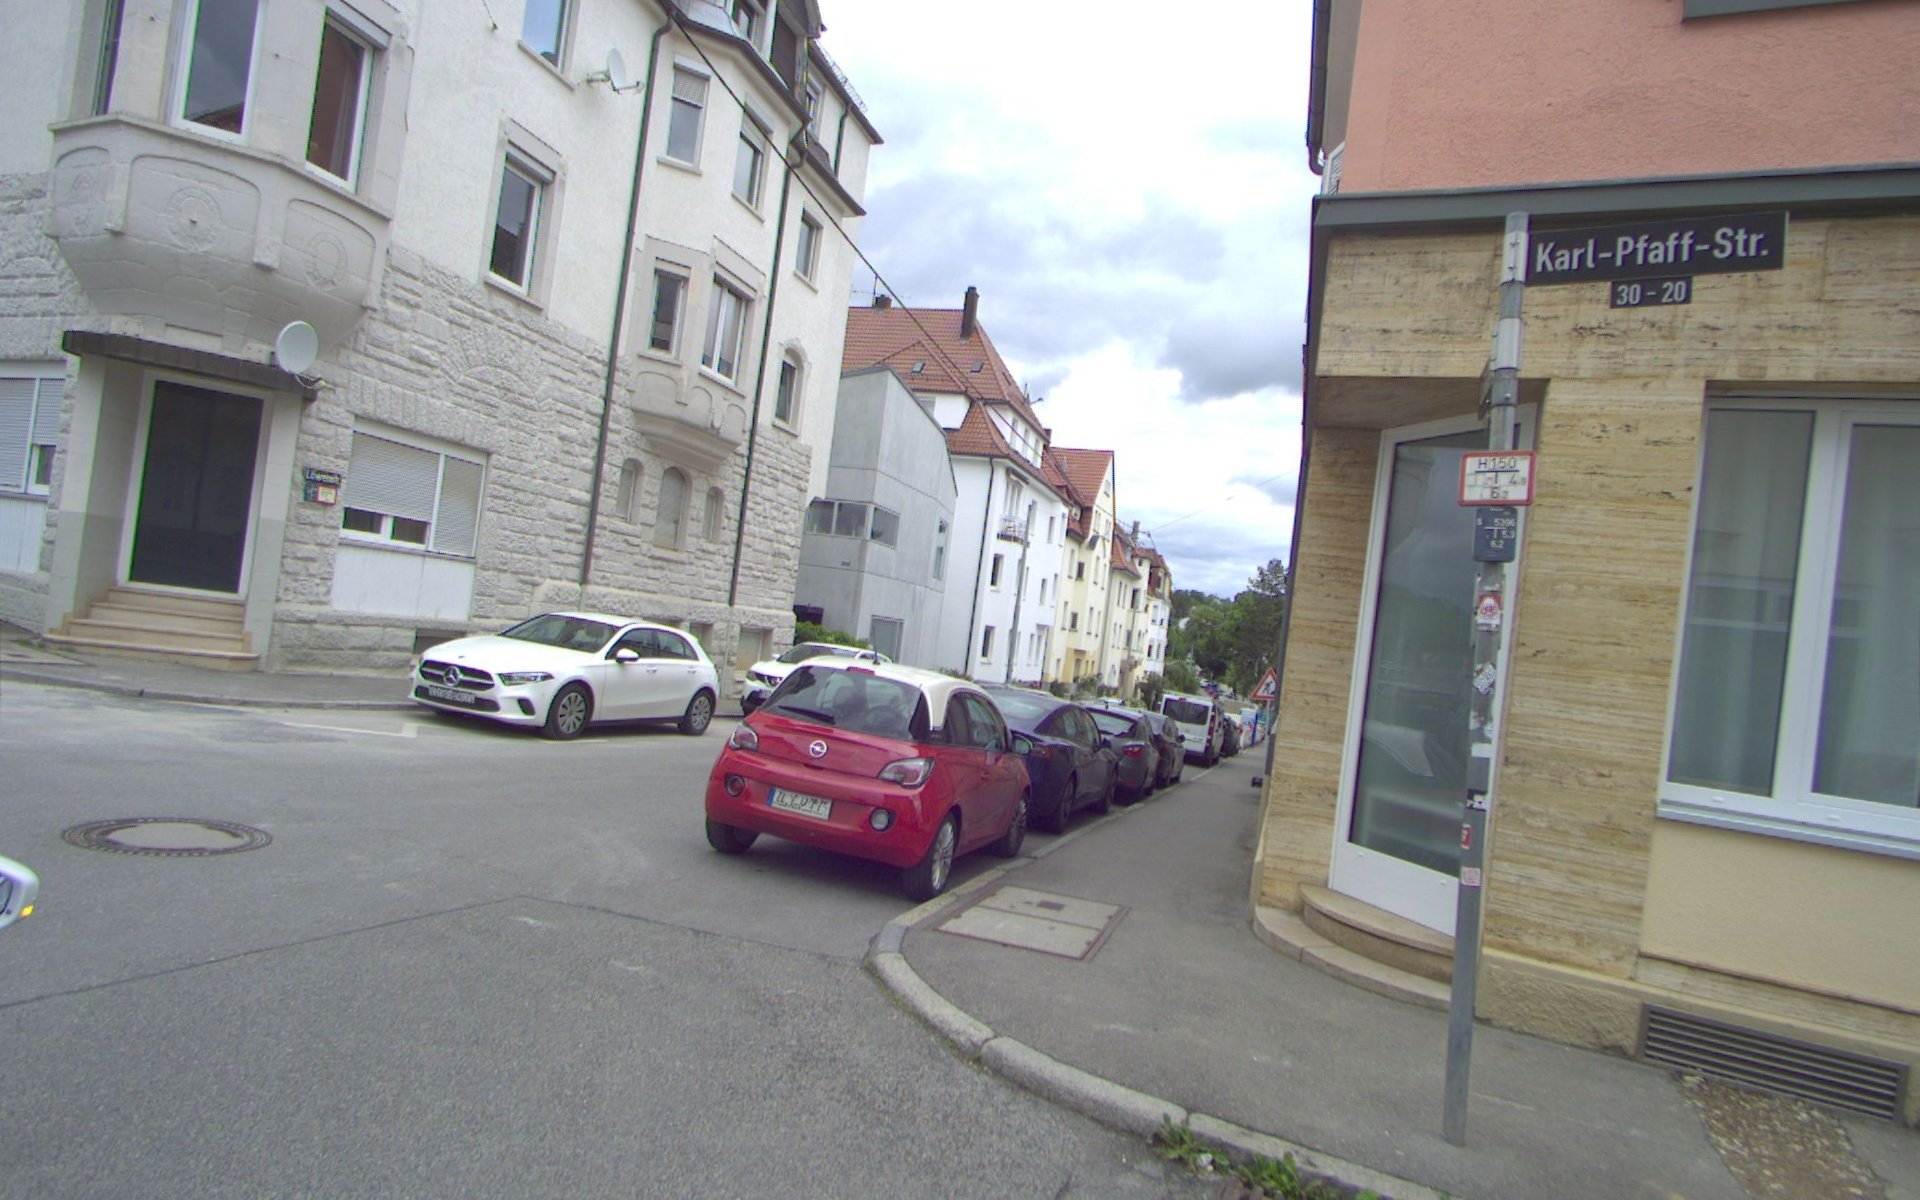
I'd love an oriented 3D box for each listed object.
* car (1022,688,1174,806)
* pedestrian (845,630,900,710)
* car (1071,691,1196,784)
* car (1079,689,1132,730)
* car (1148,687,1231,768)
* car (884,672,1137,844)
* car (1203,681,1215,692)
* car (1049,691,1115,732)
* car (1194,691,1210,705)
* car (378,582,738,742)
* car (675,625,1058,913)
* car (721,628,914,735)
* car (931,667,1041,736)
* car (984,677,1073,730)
[{"bbox_3d":[2.434,2.368,16.850,1.823,1.418,3.974,9,-3,16],"label":"car"},{"bbox_3d":[-2.248,1.787,25.796,0.808,1.905,0.844,5,-4,42],"label":"pedestrian"},{"bbox_3d":[3.751,2.844,21.058,1.824,1.417,4.586,9,-4,18],"label":"car"},{"bbox_3d":[7.256,5.431,49.920,1.816,1.648,4.294,7,-4,17],"label":"car"},{"bbox_3d":[7.483,4.047,32.373,1.876,2.051,5.743,9,-3,18],"label":"car"},{"bbox_3d":[0.840,1.833,12.385,1.824,1.418,4.299,9,-3,19],"label":"car"},{"bbox_3d":[46.040,15.960,186.026,1.608,1.556,3.531,9,0,10],"label":"car"},{"bbox_3d":[5.404,4.910,44.055,1.816,1.472,4.514,6,-5,19],"label":"car"},{"bbox_3d":[37.037,14.967,154.129,1.646,1.677,3.866,6,-1,6],"label":"car"},{"bbox_3d":[-4.620,0.833,12.372,1.672,1.429,4.248,7,-4,17],"label":"car"},{"bbox_3d":[-0.446,1.187,7.937,1.641,1.495,3.633,7,-4,16],"label":"car"},{"bbox_3d":[-2.503,1.567,18.879,1.816,1.531,4.248,7,-4,17],"label":"car"},{"bbox_3d":[0.837,2.909,28.777,1.866,1.543,4.479,7,-4,17],"label":"car"},{"bbox_3d":[2.454,3.557,34.466,1.816,1.428,5.071,7,-4,17],"label":"car"}]
